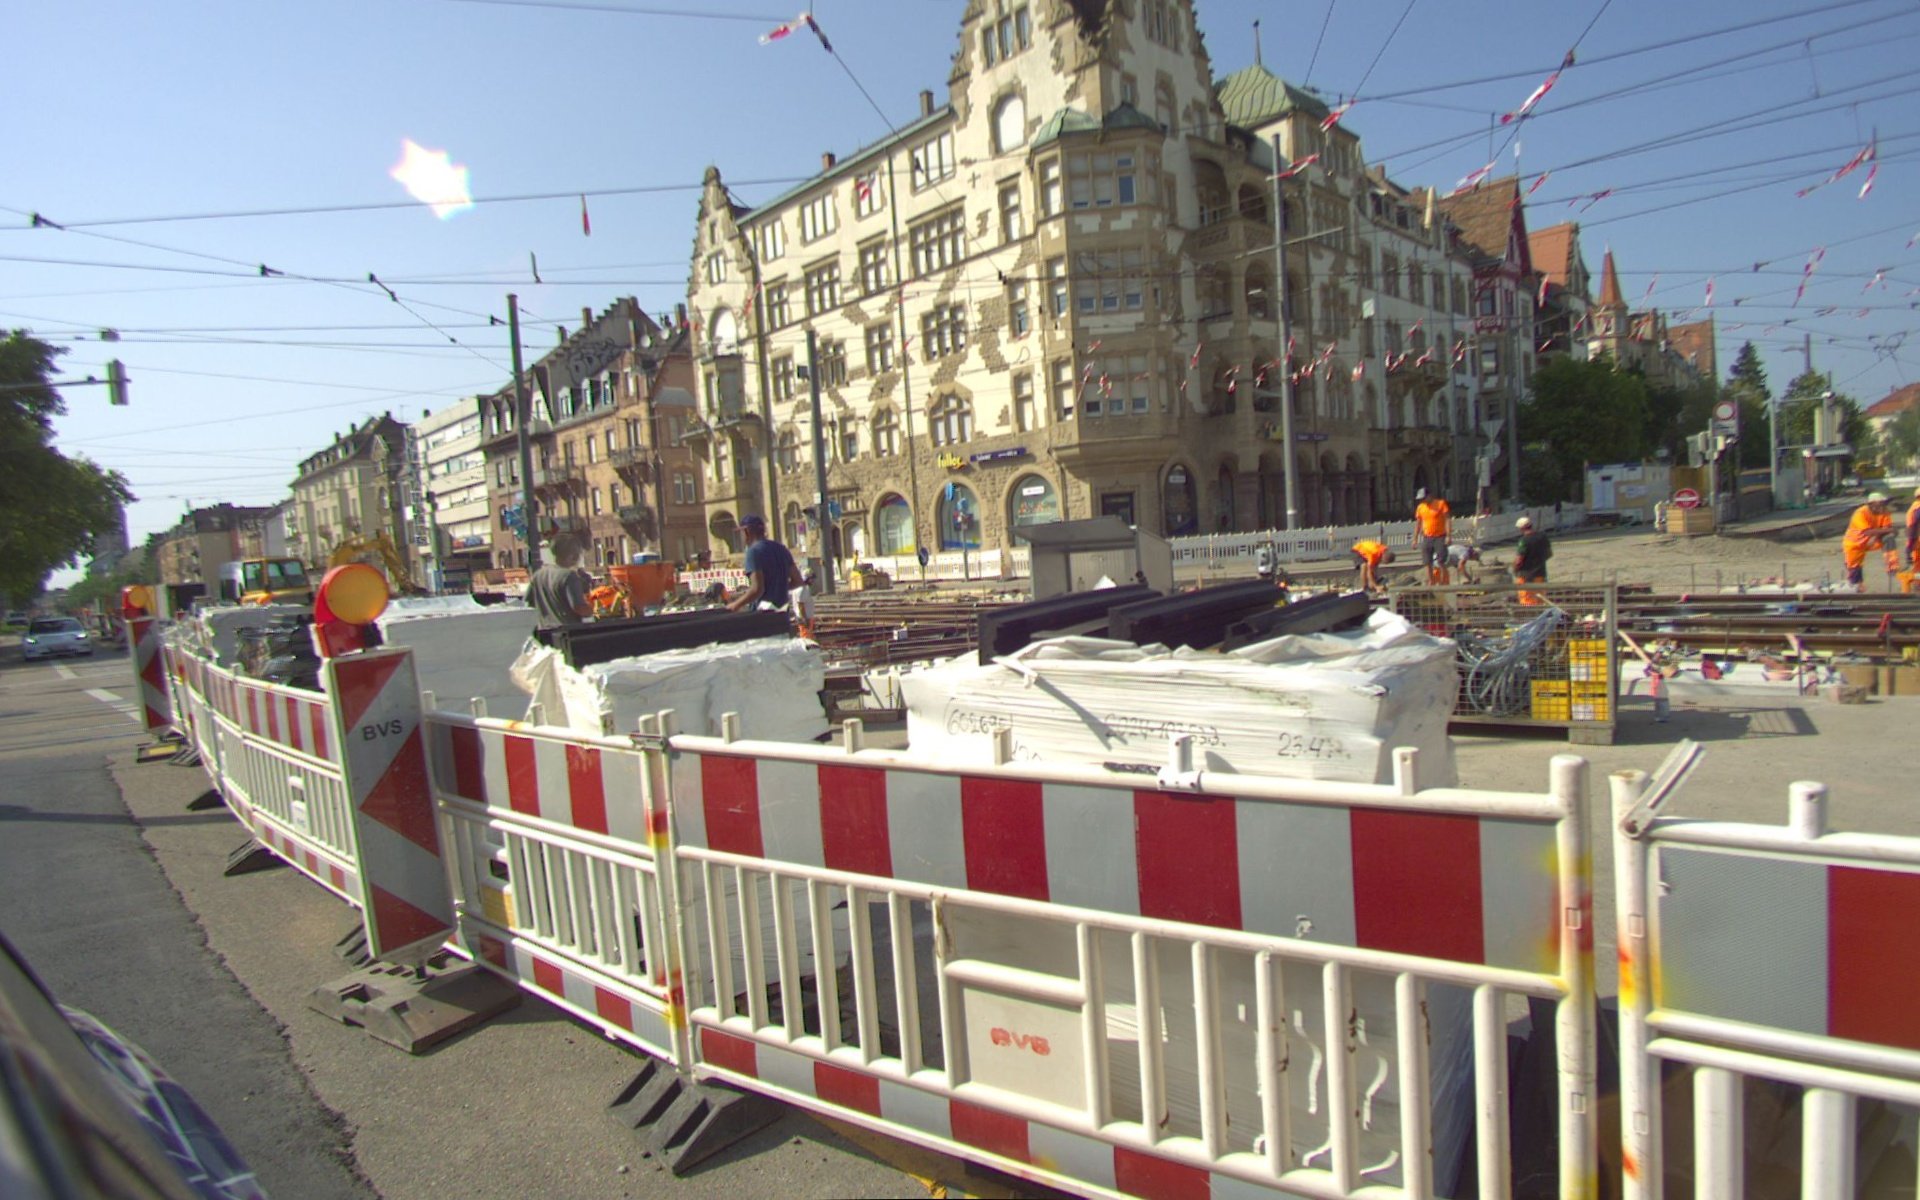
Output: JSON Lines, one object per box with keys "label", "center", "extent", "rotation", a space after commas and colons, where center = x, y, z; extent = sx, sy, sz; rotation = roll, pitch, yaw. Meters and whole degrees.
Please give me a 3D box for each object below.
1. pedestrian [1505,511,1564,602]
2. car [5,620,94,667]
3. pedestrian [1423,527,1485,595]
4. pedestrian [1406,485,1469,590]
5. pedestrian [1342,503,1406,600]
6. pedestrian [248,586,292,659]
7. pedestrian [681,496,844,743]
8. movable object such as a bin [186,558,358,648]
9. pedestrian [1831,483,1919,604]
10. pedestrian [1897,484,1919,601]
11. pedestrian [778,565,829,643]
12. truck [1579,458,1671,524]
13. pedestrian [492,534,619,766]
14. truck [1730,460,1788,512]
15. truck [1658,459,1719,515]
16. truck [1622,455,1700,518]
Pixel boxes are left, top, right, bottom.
{"label": "pedestrian", "center": [8.309, -0.637, 14.636], "extent": [0.548, 1.256, 0.669], "rotation": [-2, 3, 44]}
{"label": "car", "center": [-32.502, 1.523, 36.095], "extent": [4.001, 1.405, 1.972], "rotation": [-2, 3, 44]}
{"label": "pedestrian", "center": [8.843, -0.688, 18.111], "extent": [0.866, 1.192, 0.722], "rotation": [0, 2, 38]}
{"label": "pedestrian", "center": [8.063, -1.054, 17.078], "extent": [0.742, 1.714, 0.679], "rotation": [-6, 3, -45]}
{"label": "pedestrian", "center": [7.046, -0.832, 17.259], "extent": [0.728, 1.568, 0.752], "rotation": [-4, 2, 4]}
{"label": "pedestrian", "center": [-17.378, 0.565, 25.487], "extent": [0.691, 1.752, 0.914], "rotation": [-6, 3, -41]}
{"label": "pedestrian", "center": [-1.569, 0.136, 8.157], "extent": [0.796, 1.854, 0.914], "rotation": [-3, 2, 23]}
{"label": "movable object such as a bin", "center": [-19.864, 0.040, 29.297], "extent": [2.908, 2.427, 3.140], "rotation": [0, 2, 30]}
{"label": "pedestrian", "center": [13.625, -0.837, 15.041], "extent": [0.729, 1.714, 0.761], "rotation": [-5, 3, -25]}
{"label": "pedestrian", "center": [14.558, -0.885, 15.114], "extent": [0.759, 1.714, 0.731], "rotation": [-2, 3, 45]}
{"label": "pedestrian", "center": [-2.655, 0.067, 17.179], "extent": [0.545, 1.256, 0.543], "rotation": [-3, 3, 29]}
{"label": "truck", "center": [32.717, -5.354, 49.677], "extent": [2.692, 2.835, 5.957], "rotation": [-2, 3, 43]}
{"label": "pedestrian", "center": [-3.271, 0.388, 8.229], "extent": [0.710, 1.788, 0.466], "rotation": [-4, 2, -1]}
{"label": "truck", "center": [48.729, -6.957, 61.694], "extent": [2.239, 2.810, 6.269], "rotation": [-2, 3, 43]}
{"label": "truck", "center": [44.994, -6.952, 62.426], "extent": [2.239, 3.065, 6.269], "rotation": [-2, 3, 43]}
{"label": "truck", "center": [38.972, -6.292, 56.167], "extent": [2.631, 3.065, 6.269], "rotation": [-2, 3, 43]}
